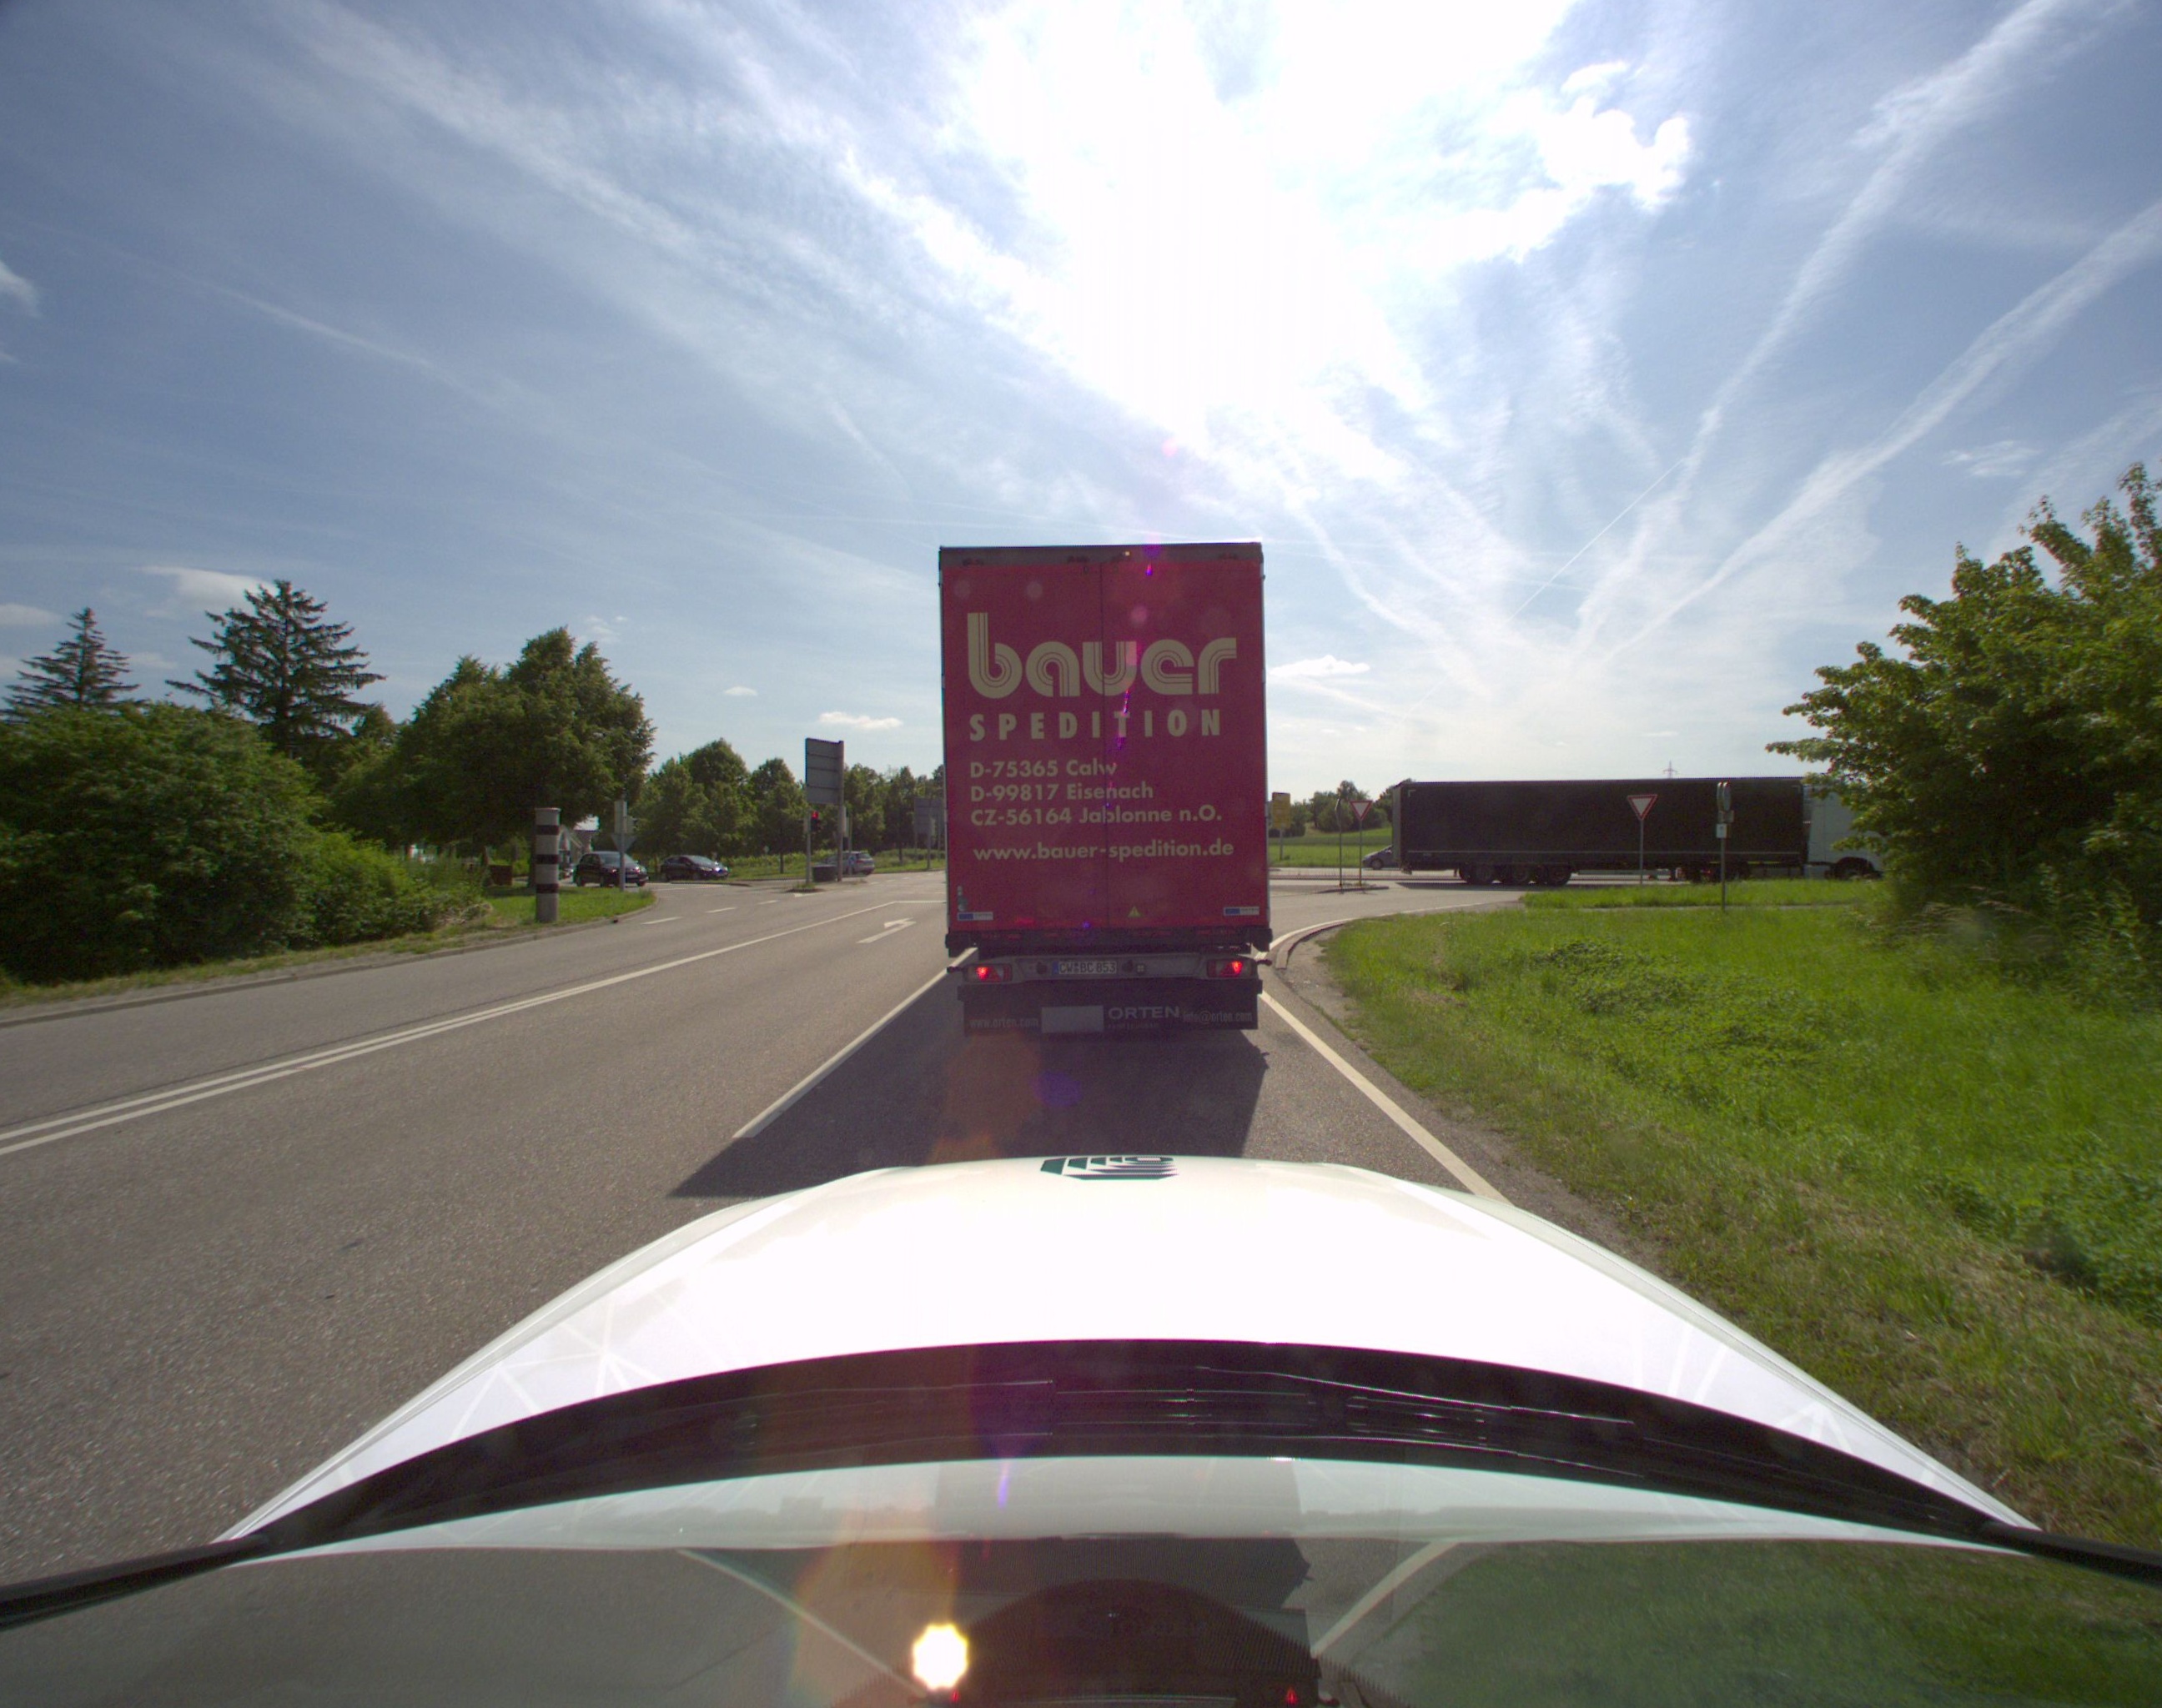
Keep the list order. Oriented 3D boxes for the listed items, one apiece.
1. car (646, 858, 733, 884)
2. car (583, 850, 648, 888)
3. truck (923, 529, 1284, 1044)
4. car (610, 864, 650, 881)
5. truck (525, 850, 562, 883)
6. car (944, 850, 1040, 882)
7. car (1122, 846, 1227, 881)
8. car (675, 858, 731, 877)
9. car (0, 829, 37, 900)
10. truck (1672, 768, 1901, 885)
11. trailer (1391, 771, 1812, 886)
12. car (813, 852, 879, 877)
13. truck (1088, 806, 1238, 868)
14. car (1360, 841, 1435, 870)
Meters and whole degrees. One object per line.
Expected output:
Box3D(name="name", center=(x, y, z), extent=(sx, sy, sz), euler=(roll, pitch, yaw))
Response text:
Box3D(name="car", center=(-20.629, 0.865, 42.918), extent=(4.229, 1.305, 1.751), euler=(0, 1, 23))
Box3D(name="car", center=(-21.572, 0.650, 37.662), extent=(1.819, 1.597, 4.218), euler=(-2, 1, -41))
Box3D(name="truck", center=(0.403, -0.574, 14.581), extent=(2.724, 3.925, 16.631), euler=(-1, 0, 2))
Box3D(name="car", center=(-37.209, 1.480, 67.202), extent=(3.811, 1.357, 1.686), euler=(-1, -1, 42))
Box3D(name="truck", center=(-64.518, 1.477, 97.875), extent=(2.954, 3.798, 7.854), euler=(0, -1, -28))
Box3D(name="car", center=(-4.098, 0.536, 37.544), extent=(4.002, 1.416, 1.803), euler=(0, 1, 18))
Box3D(name="car", center=(4.033, 0.383, 35.057), extent=(4.213, 1.461, 1.818), euler=(0, 0, 17))
Box3D(name="car", center=(-27.677, 0.995, 59.565), extent=(4.225, 1.305, 1.753), euler=(-1, 0, 34))
Box3D(name="car", center=(-35.419, 0.318, 24.433), extent=(4.601, 2.180, 1.985), euler=(0, 0, -22))
Box3D(name="truck", center=(25.725, -0.961, 30.021), extent=(5.788, 4.061, 2.807), euler=(0, 1, 11))
Box3D(name="trailer", center=(19.348, -0.897, 31.388), extent=(13.592, 4.061, 2.808), euler=(0, 1, 12))
Box3D(name="car", center=(-14.923, 0.675, 51.737), extent=(3.960, 1.491, 1.546), euler=(-1, -1, 23))
Box3D(name="truck", center=(5.441, -1.166, 58.862), extent=(3.037, 3.979, 14.190), euler=(-1, 1, -30))
Box3D(name="car", center=(18.209, 0.073, 46.963), extent=(3.952, 1.596, 1.673), euler=(0, 0, 22))
